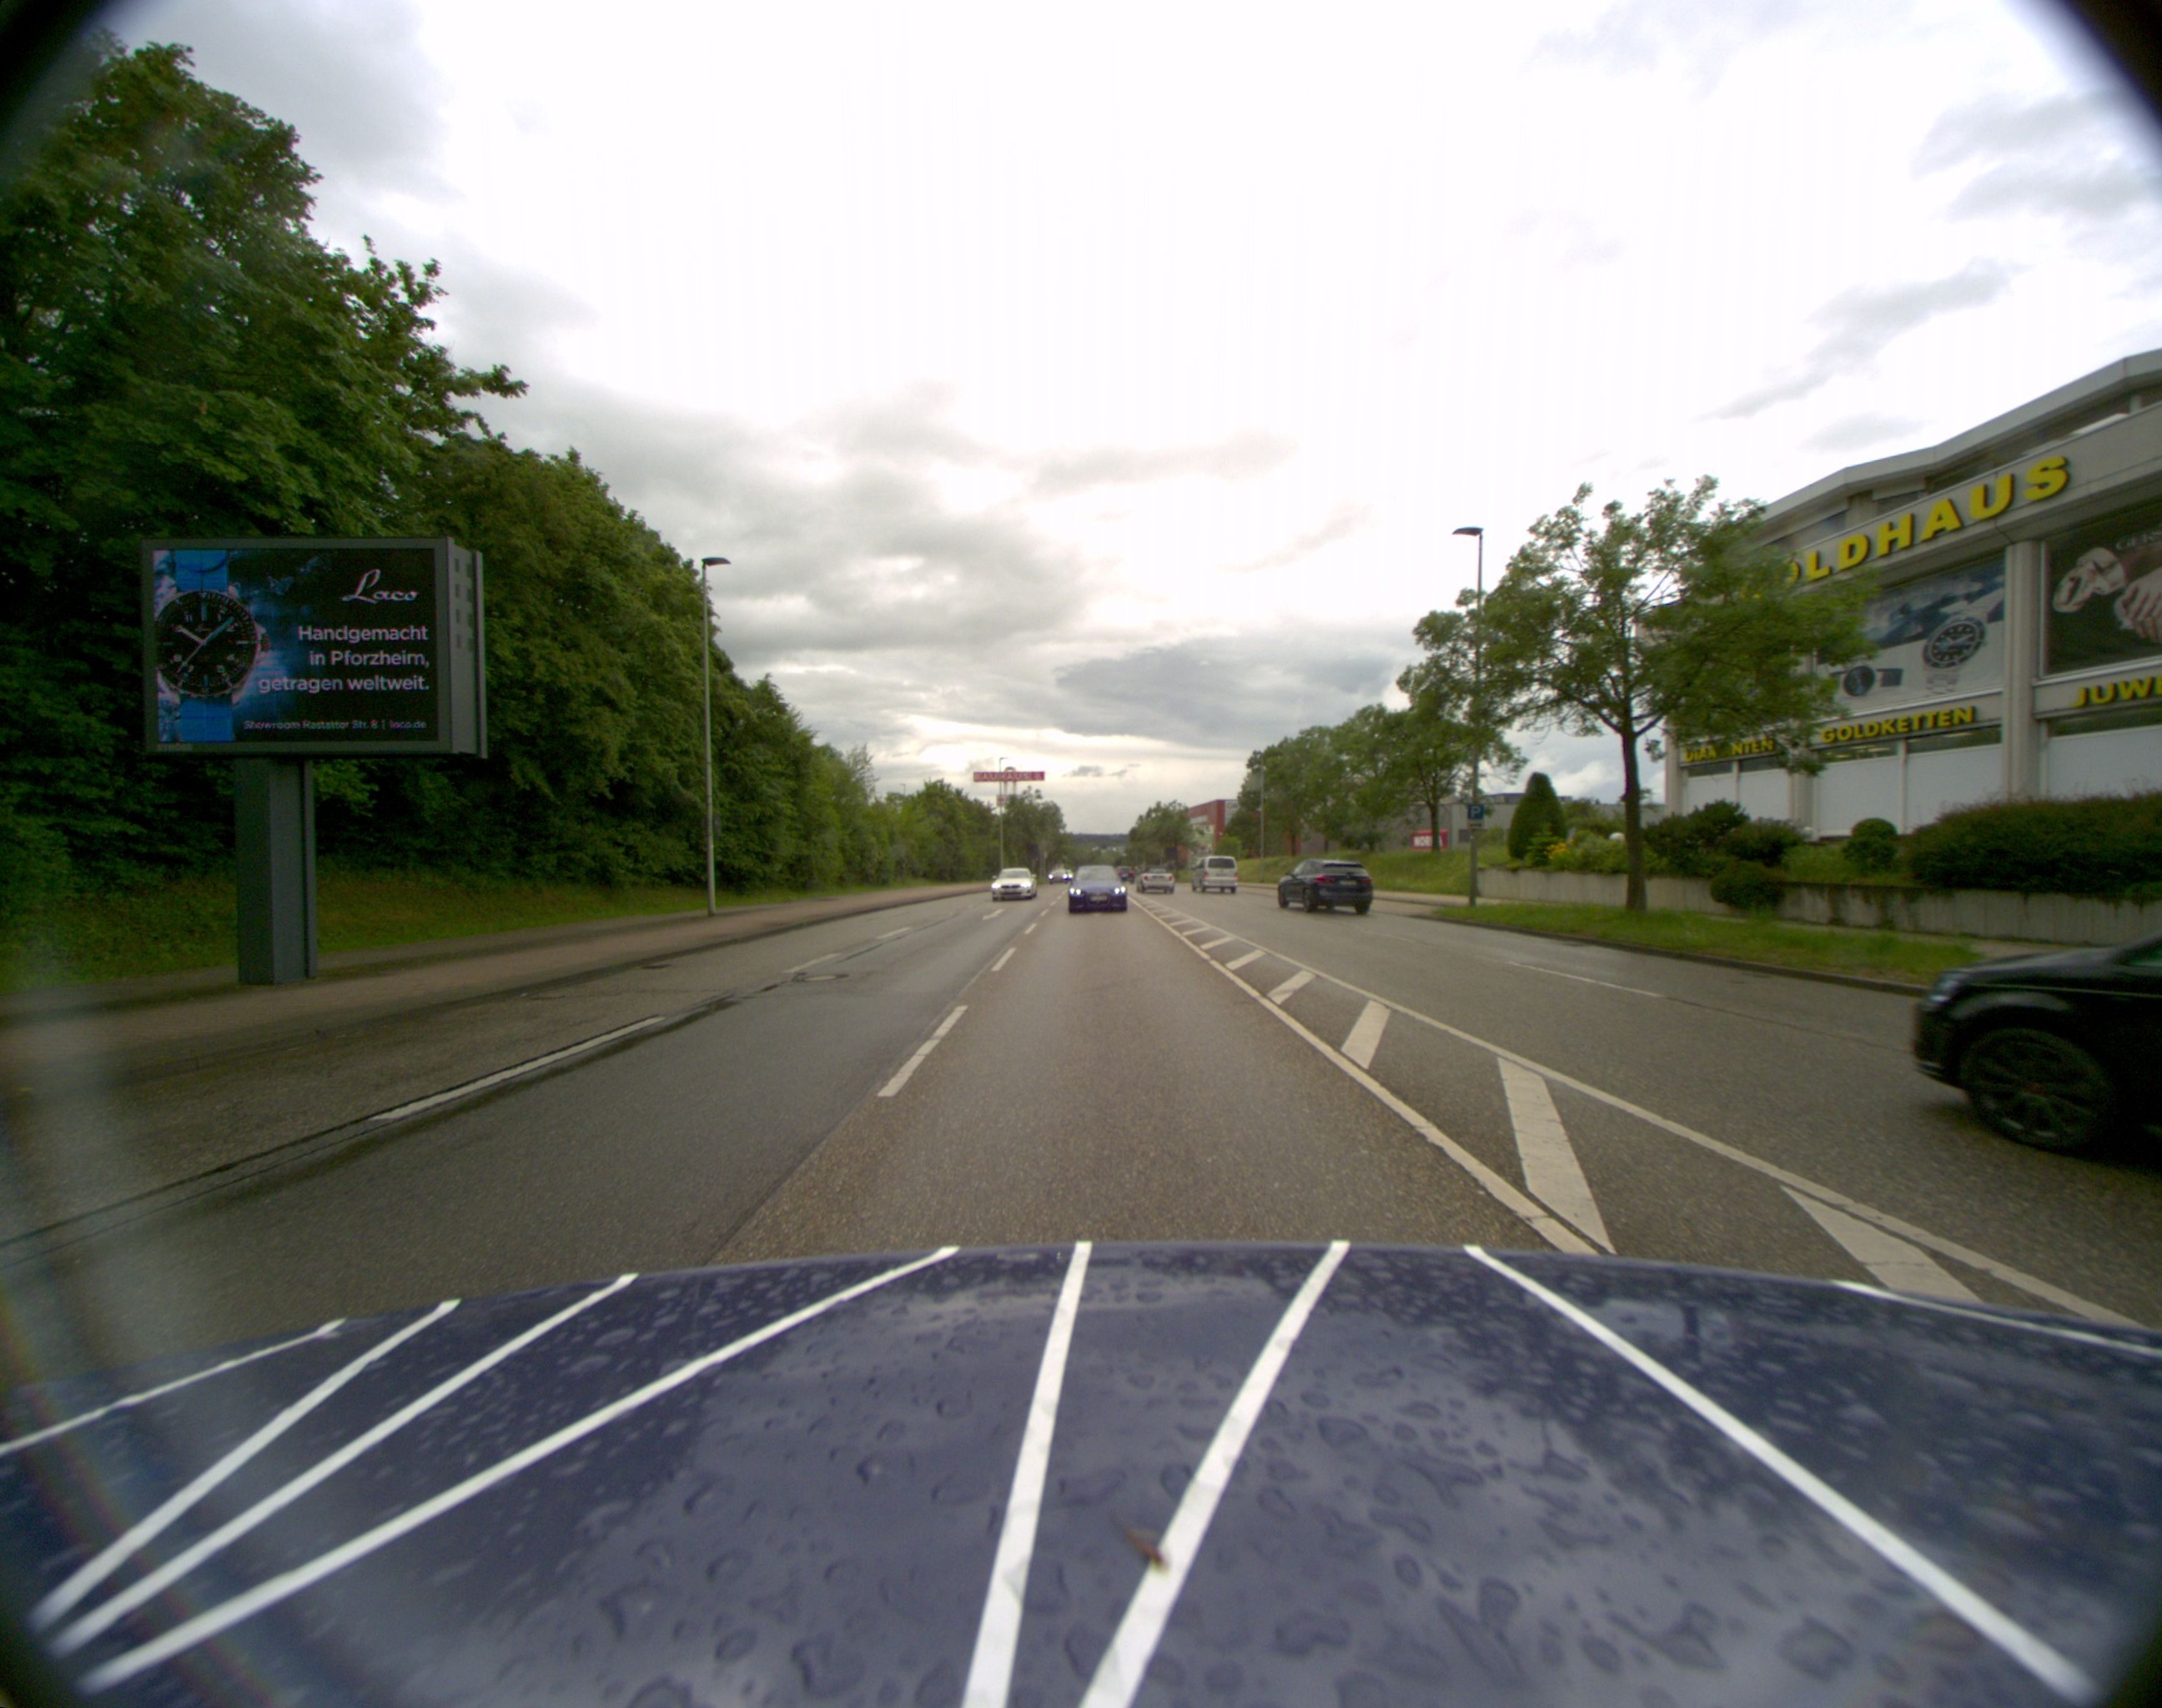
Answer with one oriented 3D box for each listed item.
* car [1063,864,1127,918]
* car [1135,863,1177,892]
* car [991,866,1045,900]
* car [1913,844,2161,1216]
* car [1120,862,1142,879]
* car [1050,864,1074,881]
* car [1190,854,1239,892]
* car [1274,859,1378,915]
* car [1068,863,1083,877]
[{"bbox_3d":[0.537,1.105,24.517,1.827,1.473,4.841,-2,0,3],"label":"car"},{"bbox_3d":[3.933,1.215,40.343,1.671,1.390,3.999,1,0,-2],"label":"car"},{"bbox_3d":[-2.896,1.321,35.842,1.863,1.473,4.002,-1,-1,5],"label":"car"},{"bbox_3d":[5.837,0.801,2.366,1.761,1.667,4.146,1,0,-5],"label":"car"},{"bbox_3d":[4.811,1.602,73.570,1.827,1.598,4.284,1,0,0],"label":"car"},{"bbox_3d":[-1.910,1.873,78.193,2.113,1.609,4.842,-1,-1,3],"label":"car"},{"bbox_3d":[7.395,1.009,42.521,1.800,1.971,4.898,1,0,0],"label":"car"},{"bbox_3d":[7.692,0.976,24.309,1.756,1.601,4.532,1,0,-1],"label":"car"},{"bbox_3d":[-0.663,2.050,97.786,1.853,1.565,4.000,-2,0,0],"label":"car"}]
